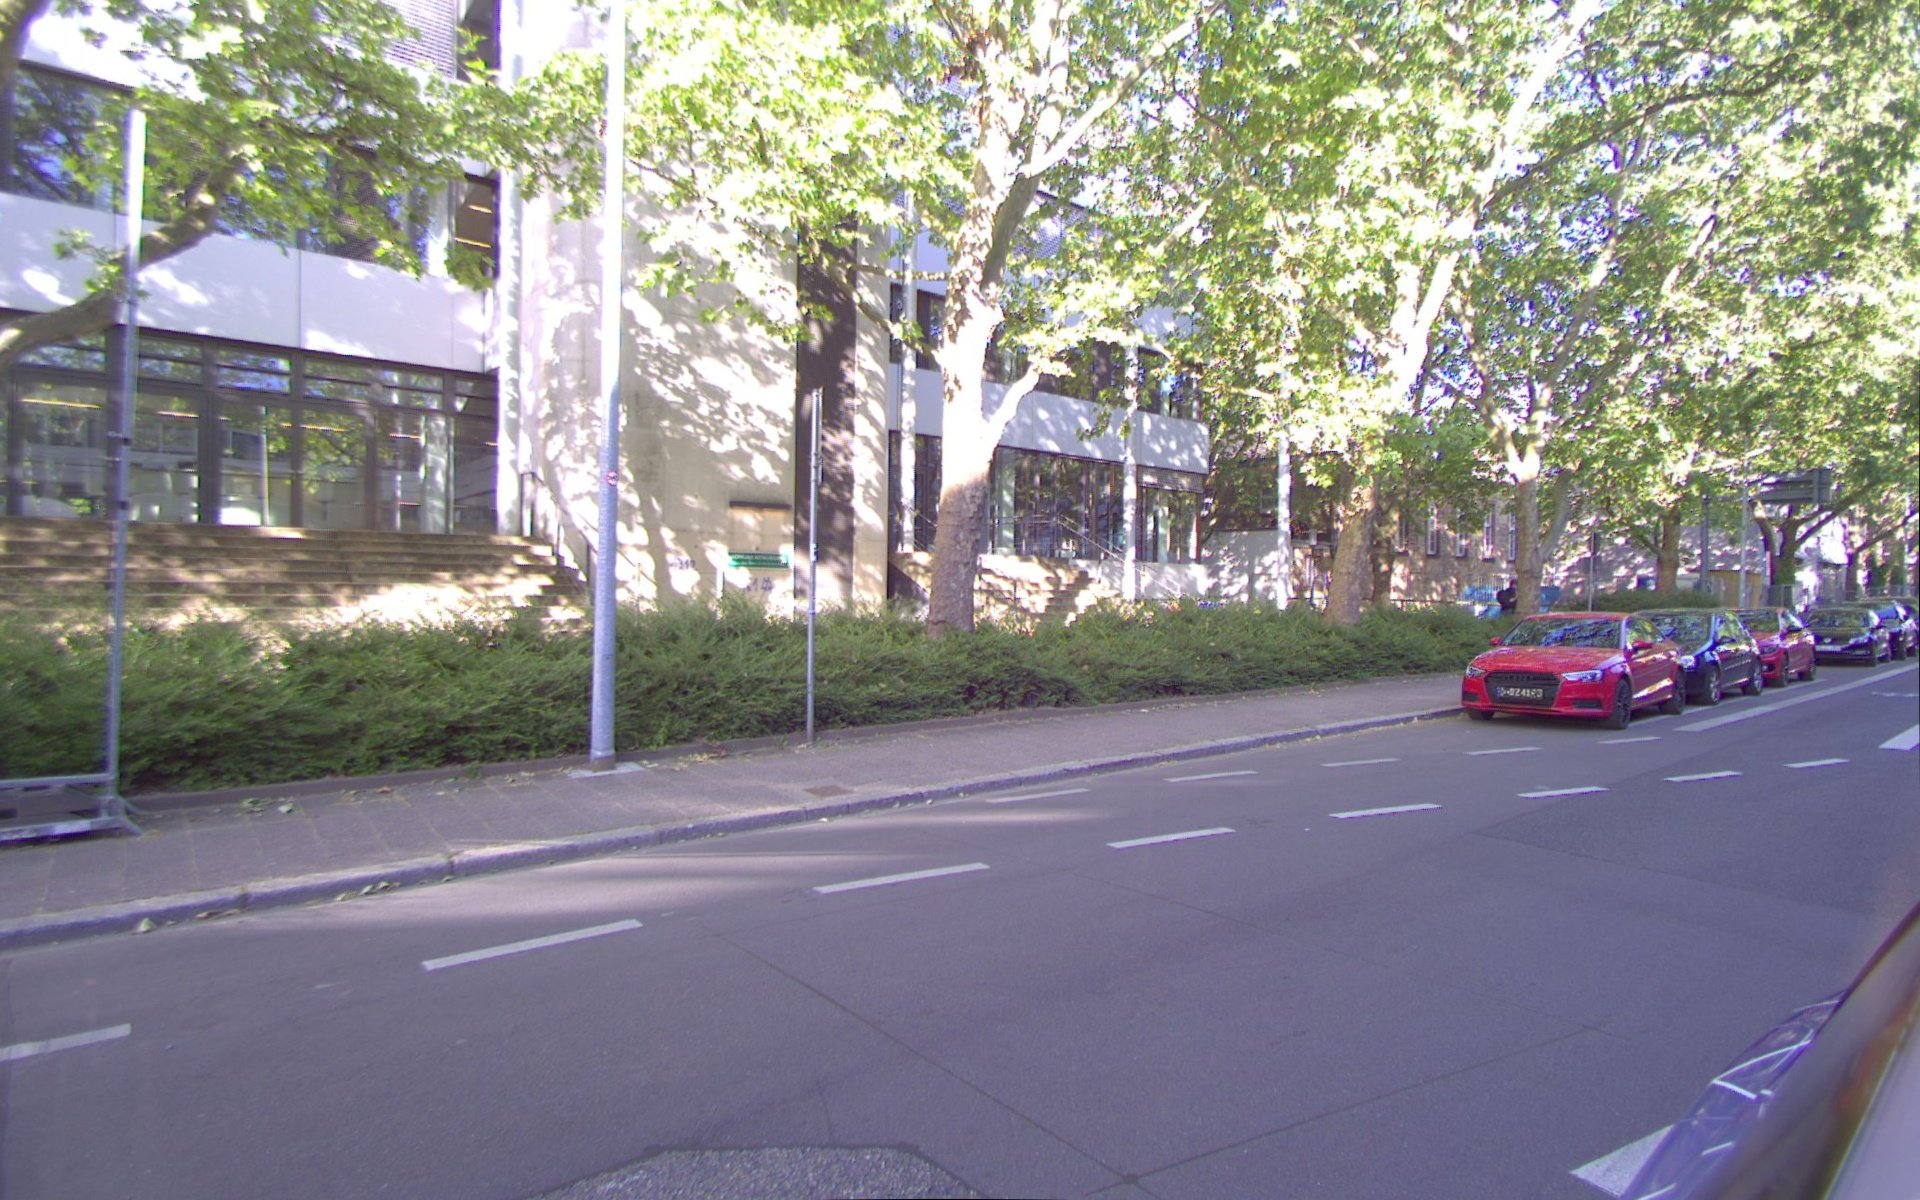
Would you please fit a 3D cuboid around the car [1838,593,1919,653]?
[{"bbox_3d":[26.637,0.602,29.048,4.158,1.598,1.632,-1,0,-41],"label":"car"}]

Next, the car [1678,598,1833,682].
[{"bbox_3d":[15.746,0.707,19.976,3.854,1.467,1.691,-1,0,-40],"label":"car"}]

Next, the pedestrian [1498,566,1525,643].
[{"bbox_3d":[14.703,0.118,26.963,0.549,2.039,0.555,0,0,38],"label":"pedestrian"}]

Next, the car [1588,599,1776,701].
[{"bbox_3d":[11.858,0.729,16.549,3.632,1.436,1.668,-1,0,-40],"label":"car"}]

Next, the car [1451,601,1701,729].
[{"bbox_3d":[8.304,0.736,13.519,3.931,1.409,1.792,-1,0,-42],"label":"car"}]

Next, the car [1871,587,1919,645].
[{"bbox_3d":[31.175,0.471,33.017,4.497,1.814,1.632,-1,0,-41],"label":"car"}]

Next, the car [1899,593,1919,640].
[{"bbox_3d":[35.539,0.571,36.788,4.497,1.633,1.632,-1,0,-41],"label":"car"}]

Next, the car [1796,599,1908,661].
[{"bbox_3d":[22.951,0.710,25.991,3.855,1.441,1.691,-1,0,-41],"label":"car"}]
